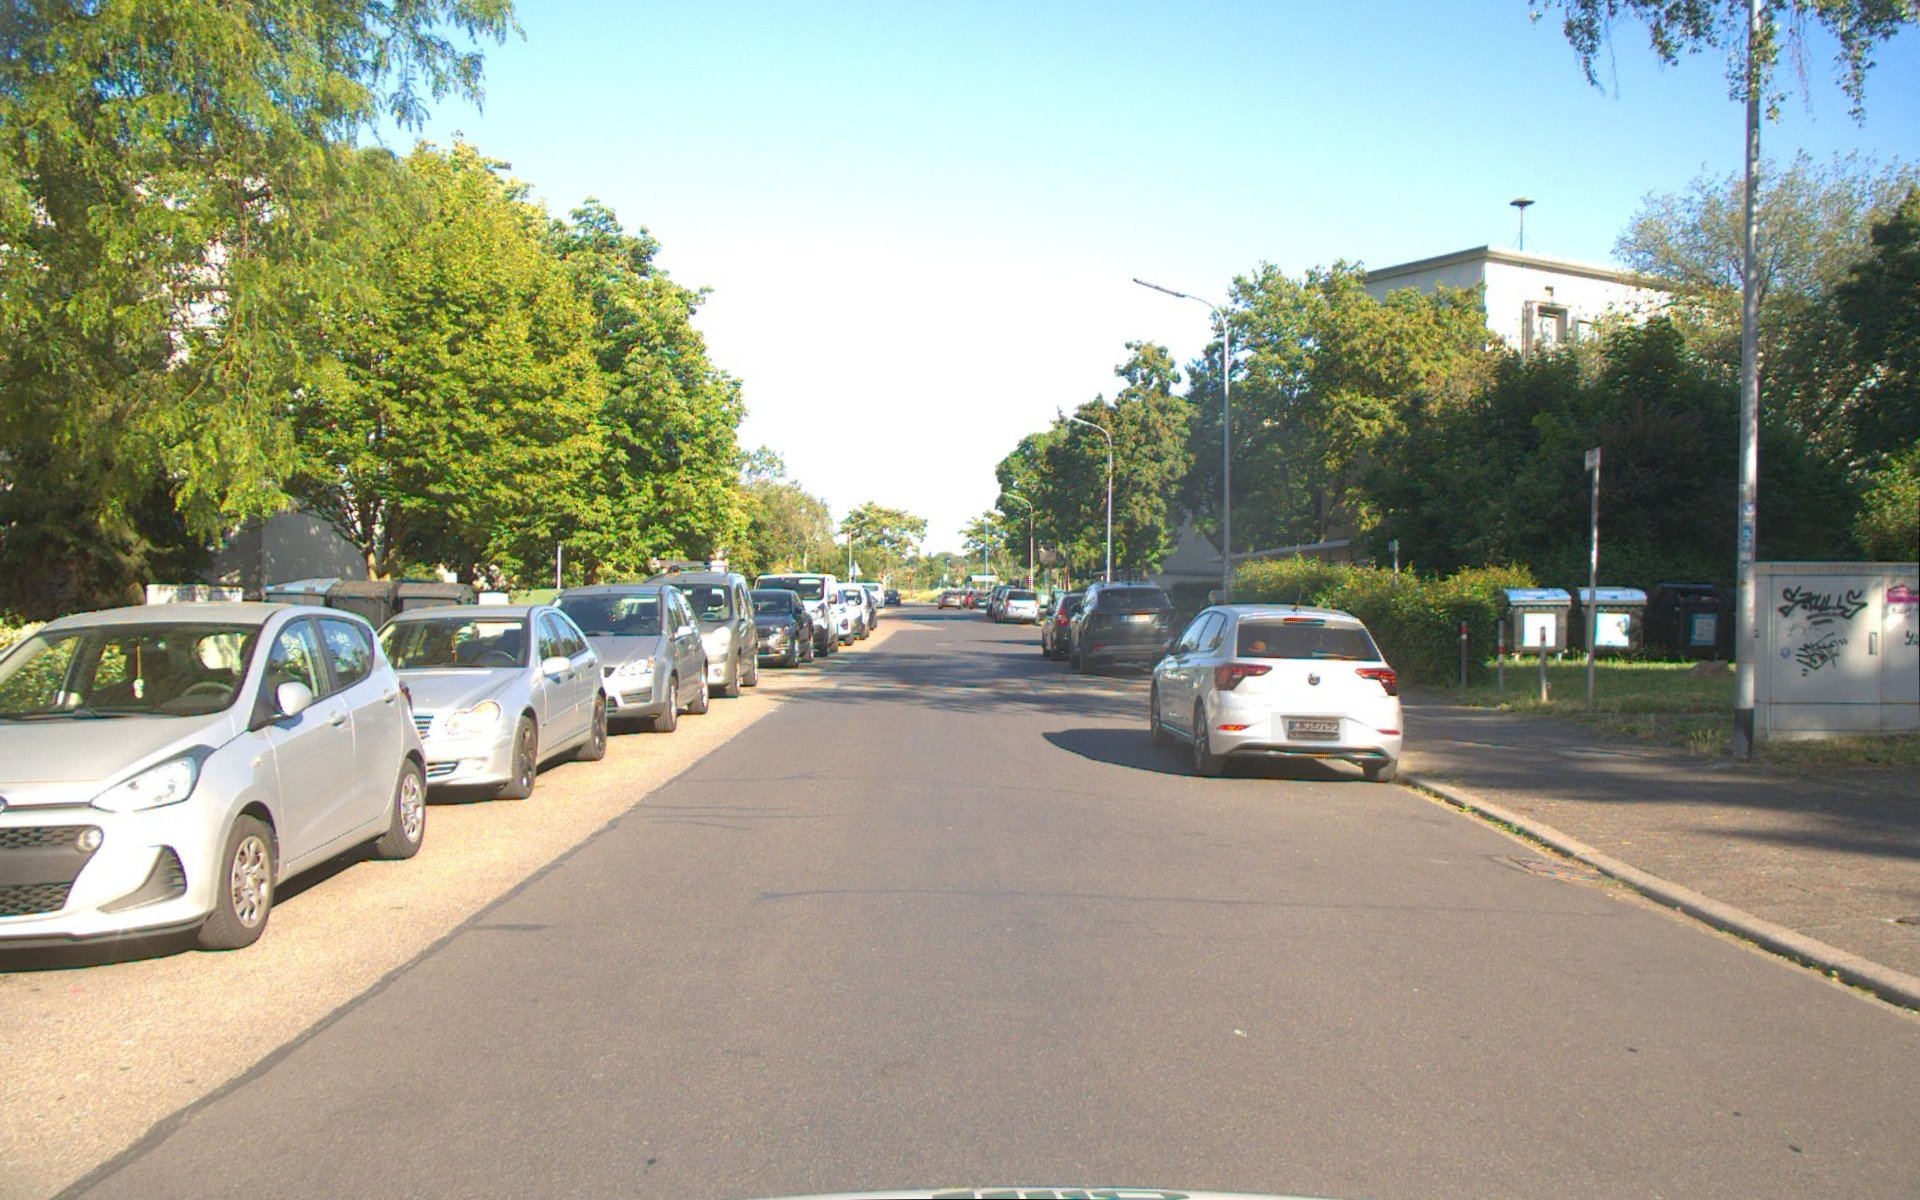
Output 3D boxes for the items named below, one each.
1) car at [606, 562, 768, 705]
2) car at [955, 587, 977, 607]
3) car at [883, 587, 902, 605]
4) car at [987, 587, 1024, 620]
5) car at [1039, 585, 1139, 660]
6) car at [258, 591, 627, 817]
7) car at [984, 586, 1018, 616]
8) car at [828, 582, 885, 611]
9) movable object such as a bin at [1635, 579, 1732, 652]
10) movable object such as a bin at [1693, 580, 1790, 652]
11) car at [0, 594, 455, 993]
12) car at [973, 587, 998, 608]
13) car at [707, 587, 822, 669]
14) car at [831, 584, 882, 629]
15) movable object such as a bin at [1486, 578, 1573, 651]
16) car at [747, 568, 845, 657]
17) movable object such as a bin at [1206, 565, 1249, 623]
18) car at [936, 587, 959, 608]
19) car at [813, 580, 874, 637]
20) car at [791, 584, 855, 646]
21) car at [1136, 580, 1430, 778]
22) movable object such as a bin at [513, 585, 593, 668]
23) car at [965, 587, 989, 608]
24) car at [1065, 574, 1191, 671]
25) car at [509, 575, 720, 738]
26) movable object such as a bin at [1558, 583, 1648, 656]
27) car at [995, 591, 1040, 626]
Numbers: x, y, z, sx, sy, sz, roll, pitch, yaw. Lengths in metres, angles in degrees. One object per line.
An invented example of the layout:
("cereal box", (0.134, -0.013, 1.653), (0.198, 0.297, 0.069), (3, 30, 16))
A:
("car", (-3.995, 0.439, 24.901), (1.817, 1.925, 4.416), (-1, 0, -2))
("car", (0.514, -0.290, 149.868), (1.760, 1.672, 3.950), (1, 0, -3))
("car", (-6.385, -0.390, 157.006), (1.760, 1.589, 3.950), (1, 0, -3))
("car", (2.550, 0.165, 93.574), (1.760, 1.818, 3.950), (1, 0, -3))
("car", (2.857, 0.463, 37.397), (1.869, 1.557, 4.327), (1, 0, 0))
("car", (-4.033, 0.704, 13.708), (1.652, 1.490, 4.525), (-2, 0, -1))
("car", (2.409, 0.047, 97.887), (1.760, 1.672, 3.950), (1, 0, -3))
("car", (-7.496, -0.280, 119.535), (3.975, 2.027, 1.800), (1, 0, -5))
("movable object such as a bin", (14.109, 0.293, 32.295), (1.231, 1.376, 1.276), (1, 0, -9))
("movable object such as a bin", (15.504, 0.306, 32.834), (1.232, 1.376, 1.275), (1, 0, -11))
("car", (-3.910, 0.749, 8.340), (1.652, 1.532, 3.816), (0, 0, -2))
("car", (2.034, -0.201, 132.779), (1.760, 1.576, 3.950), (1, 0, -3))
("car", (-3.952, 0.528, 33.992), (1.710, 1.560, 4.140), (-1, 0, 2))
("car", (-3.976, 0.236, 64.237), (1.711, 1.641, 4.307), (-1, 0, 0))
("movable object such as a bin", (11.073, 0.269, 32.221), (1.229, 1.376, 1.279), (1, 0, -1))
("car", (-3.930, 0.259, 40.424), (1.875, 1.997, 5.087), (-1, 0, 0))
("movable object such as a bin", (6.825, -0.154, 42.193), (0.898, 1.479, 1.232), (0, 0, 0))
("car", (-0.985, -0.225, 130.406), (1.646, 1.540, 4.102), (2, 0, -3))
("car", (-3.790, 0.261, 54.336), (1.711, 1.762, 4.005), (-1, 0, 0))
("car", (-3.987, 0.395, 48.580), (1.711, 1.699, 4.375), (-1, 0, -3))
("car", (2.816, 0.619, 15.329), (1.718, 1.540, 4.102), (2, 0, -3))
("movable object such as a bin", (-7.500, 0.477, 30.531), (1.079, 1.445, 1.361), (3, 0, 0))
("car", (1.412, -0.221, 140.131), (1.760, 1.672, 3.950), (1, 0, -3))
("car", (3.106, 0.381, 31.463), (1.869, 1.668, 4.628), (1, 0, 0))
("car", (-3.875, 0.573, 19.173), (1.675, 1.628, 3.984), (-2, 0, -2))
("movable object such as a bin", (12.438, 0.365, 32.041), (1.229, 1.376, 1.279), (1, 0, -1))
("car", (2.678, 0.377, 77.431), (1.760, 1.589, 3.950), (1, 0, -3))
